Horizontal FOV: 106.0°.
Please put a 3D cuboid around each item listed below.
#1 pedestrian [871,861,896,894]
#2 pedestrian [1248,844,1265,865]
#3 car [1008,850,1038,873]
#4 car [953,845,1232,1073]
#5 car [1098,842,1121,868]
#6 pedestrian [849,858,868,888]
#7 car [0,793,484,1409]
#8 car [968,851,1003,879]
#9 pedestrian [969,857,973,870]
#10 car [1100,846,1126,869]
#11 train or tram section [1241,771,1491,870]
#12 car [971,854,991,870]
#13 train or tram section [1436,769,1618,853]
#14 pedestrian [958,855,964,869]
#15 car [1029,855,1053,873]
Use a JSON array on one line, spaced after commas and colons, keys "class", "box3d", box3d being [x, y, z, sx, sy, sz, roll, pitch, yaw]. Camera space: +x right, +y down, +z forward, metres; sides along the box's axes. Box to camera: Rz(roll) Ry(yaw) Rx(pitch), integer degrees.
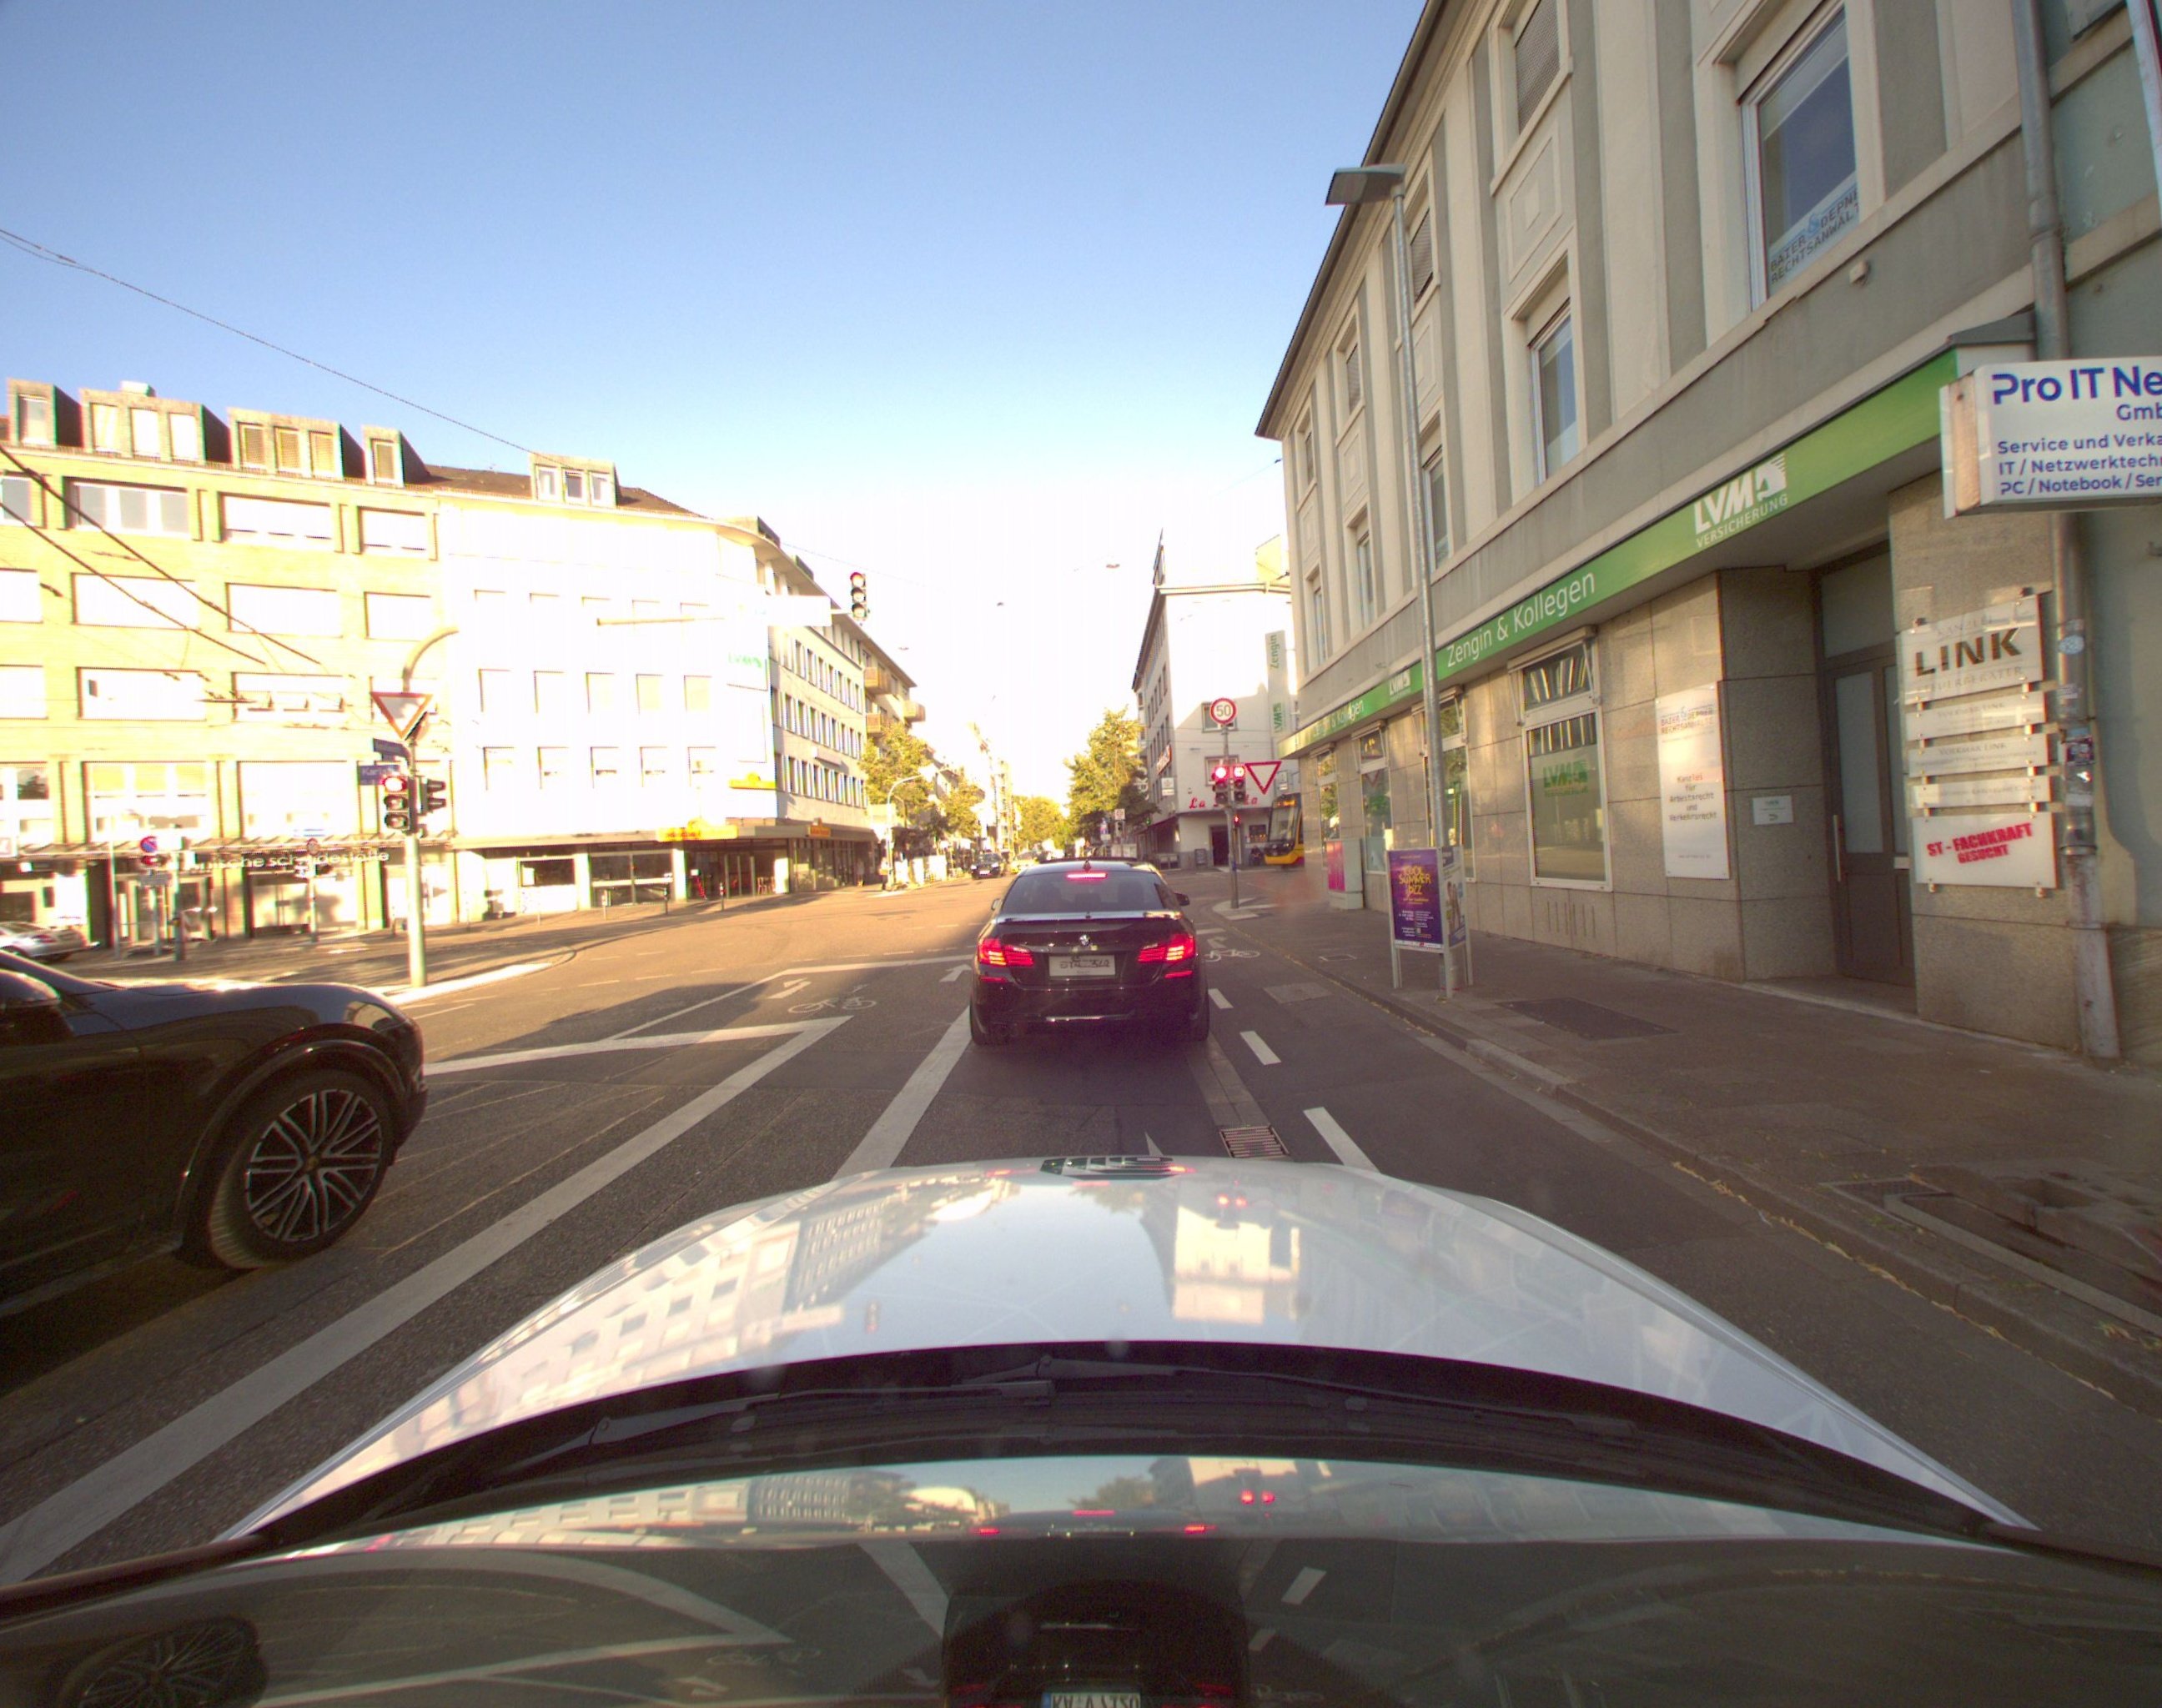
[{"class": "pedestrian", "box3d": [-9.605, 1.140, 39.667, 0.944, 1.537, 0.907, -3, 0, -3]}, {"class": "pedestrian", "box3d": [9.977, 0.021, 46.243, 0.695, 1.157, 0.843, -3, 0, -1]}, {"class": "car", "box3d": [-4.145, 0.524, 57.929, 1.990, 1.442, 3.993, -3, 0, -5]}, {"class": "car", "box3d": [0.067, 0.699, 7.798, 1.898, 1.540, 4.448, 0, 0, -1]}, {"class": "car", "box3d": [2.141, 0.055, 61.109, 1.417, 1.854, 3.050, -2, 0, -2]}, {"class": "pedestrian", "box3d": [-13.205, 1.115, 48.402, 0.821, 1.676, 0.871, -3, 0, -1]}, {"class": "car", "box3d": [-4.016, 0.751, 1.781, 1.942, 1.714, 4.561, -4, 0, 0]}, {"class": "car", "box3d": [-6.112, 0.657, 52.533, 1.990, 1.618, 3.993, -3, 0, -5]}, {"class": "pedestrian", "box3d": [-11.347, 0.993, 84.018, 0.306, 1.359, 0.284, -3, 0, -9]}, {"class": "car", "box3d": [2.113, 0.240, 54.705, 1.620, 1.471, 3.394, -2, 0, 0]}, {"class": "train or tram section", "box3d": [13.297, -1.645, 37.177, 12.696, 3.865, 3.052, -4, 0, -30]}, {"class": "car", "box3d": [-9.731, 0.751, 79.425, 1.731, 1.461, 3.993, -3, 0, -5]}, {"class": "train or tram section", "box3d": [23.688, -2.326, 43.056, 10.486, 3.811, 3.053, -4, 0, -28]}, {"class": "pedestrian", "box3d": [-12.311, 0.812, 83.667, 0.443, 1.416, 0.525, -3, 0, -2]}, {"class": "car", "box3d": [-3.186, 0.741, 64.670, 1.731, 1.293, 3.993, -3, 0, -5]}]
